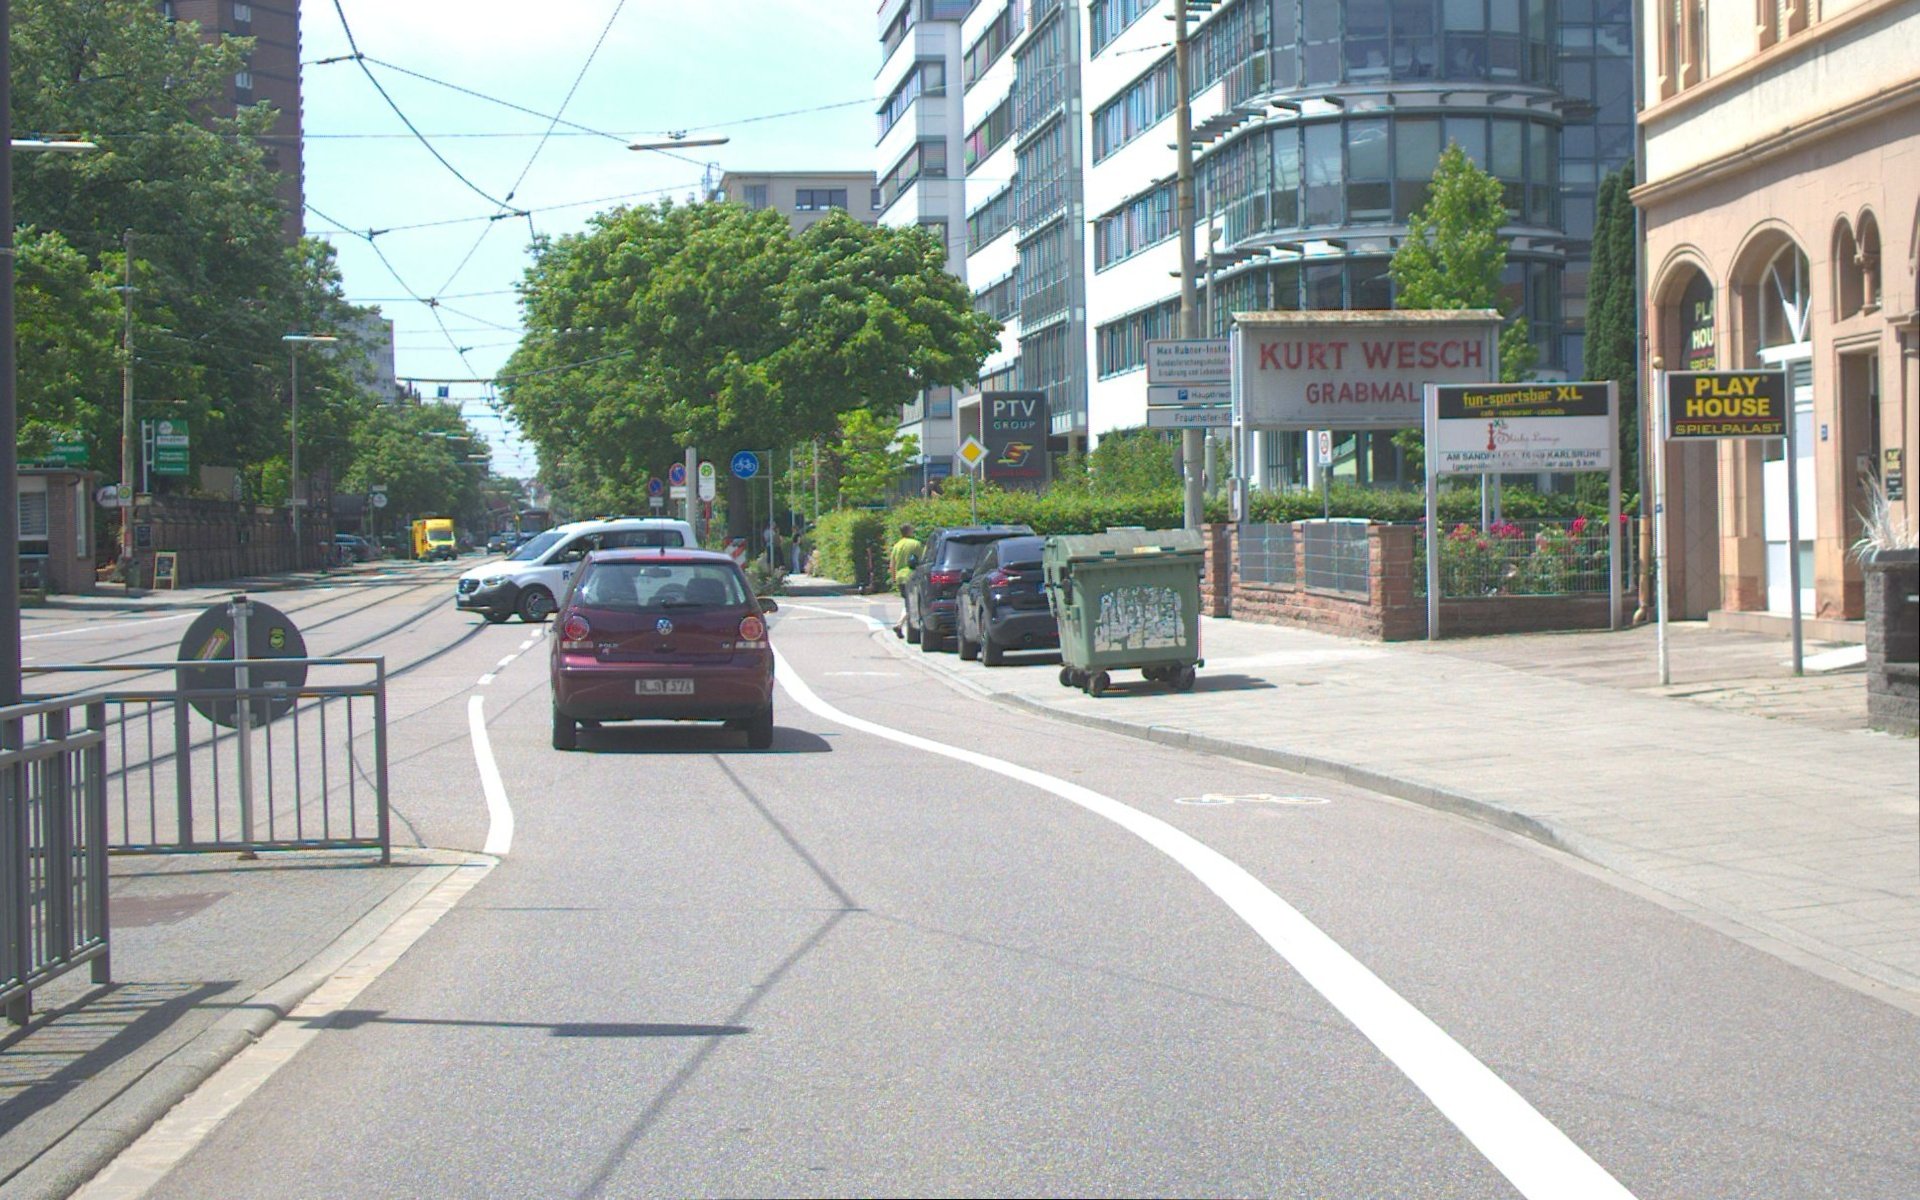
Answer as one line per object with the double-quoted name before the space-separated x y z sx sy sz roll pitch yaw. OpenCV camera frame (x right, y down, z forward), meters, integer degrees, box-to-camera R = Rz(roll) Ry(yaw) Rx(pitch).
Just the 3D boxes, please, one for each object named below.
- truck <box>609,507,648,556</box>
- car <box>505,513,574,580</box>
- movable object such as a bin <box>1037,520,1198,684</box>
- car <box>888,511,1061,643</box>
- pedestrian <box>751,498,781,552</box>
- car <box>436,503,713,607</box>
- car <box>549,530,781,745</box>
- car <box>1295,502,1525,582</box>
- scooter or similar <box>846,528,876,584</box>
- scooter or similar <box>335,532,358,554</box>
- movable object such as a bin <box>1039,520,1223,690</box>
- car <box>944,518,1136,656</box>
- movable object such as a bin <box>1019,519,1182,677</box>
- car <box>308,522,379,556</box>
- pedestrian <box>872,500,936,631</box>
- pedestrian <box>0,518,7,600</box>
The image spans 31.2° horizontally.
"truck" -18.100 -3.758 187.600 1.993 2.652 4.876 0 1 -7
"car" -12.976 -1.661 105.998 1.993 2.007 4.001 0 1 -9
"movable object such as a bin" 1.478 0.005 32.453 1.247 1.450 1.058 -3 2 -9
"car" 0.149 -0.371 48.958 1.924 1.687 5.083 -3 2 -5
"pedestrian" -6.568 -2.541 116.487 0.678 1.790 0.674 -3 2 -38
"car" -6.970 -0.831 62.211 4.537 1.793 2.000 -1 2 -28
"car" -2.265 0.229 26.186 1.619 1.481 4.001 0 1 -6
"car" 8.693 -1.132 66.608 4.148 1.454 1.818 -1 1 -2
"scooter or similar" -2.167 -0.976 75.438 0.326 1.218 1.151 1 1 15
"scooter or similar" -32.637 -3.034 182.810 1.088 1.151 0.527 0 1 -27
"movable object such as a bin" 1.549 0.032 31.340 1.391 1.450 1.139 -3 2 -9
"car" 0.933 -0.186 42.784 1.772 1.543 4.468 -3 1 -6
"movable object such as a bin" 1.361 -0.031 33.521 1.323 1.450 1.058 -3 2 -9
"car" -37.556 -3.743 209.455 3.986 2.007 2.000 -1 1 -2
"pedestrian" -0.861 -0.530 52.350 0.780 1.953 0.590 -2 1 -21
"pedestrian" -20.996 -0.896 74.494 0.580 1.769 0.700 0 1 -10
